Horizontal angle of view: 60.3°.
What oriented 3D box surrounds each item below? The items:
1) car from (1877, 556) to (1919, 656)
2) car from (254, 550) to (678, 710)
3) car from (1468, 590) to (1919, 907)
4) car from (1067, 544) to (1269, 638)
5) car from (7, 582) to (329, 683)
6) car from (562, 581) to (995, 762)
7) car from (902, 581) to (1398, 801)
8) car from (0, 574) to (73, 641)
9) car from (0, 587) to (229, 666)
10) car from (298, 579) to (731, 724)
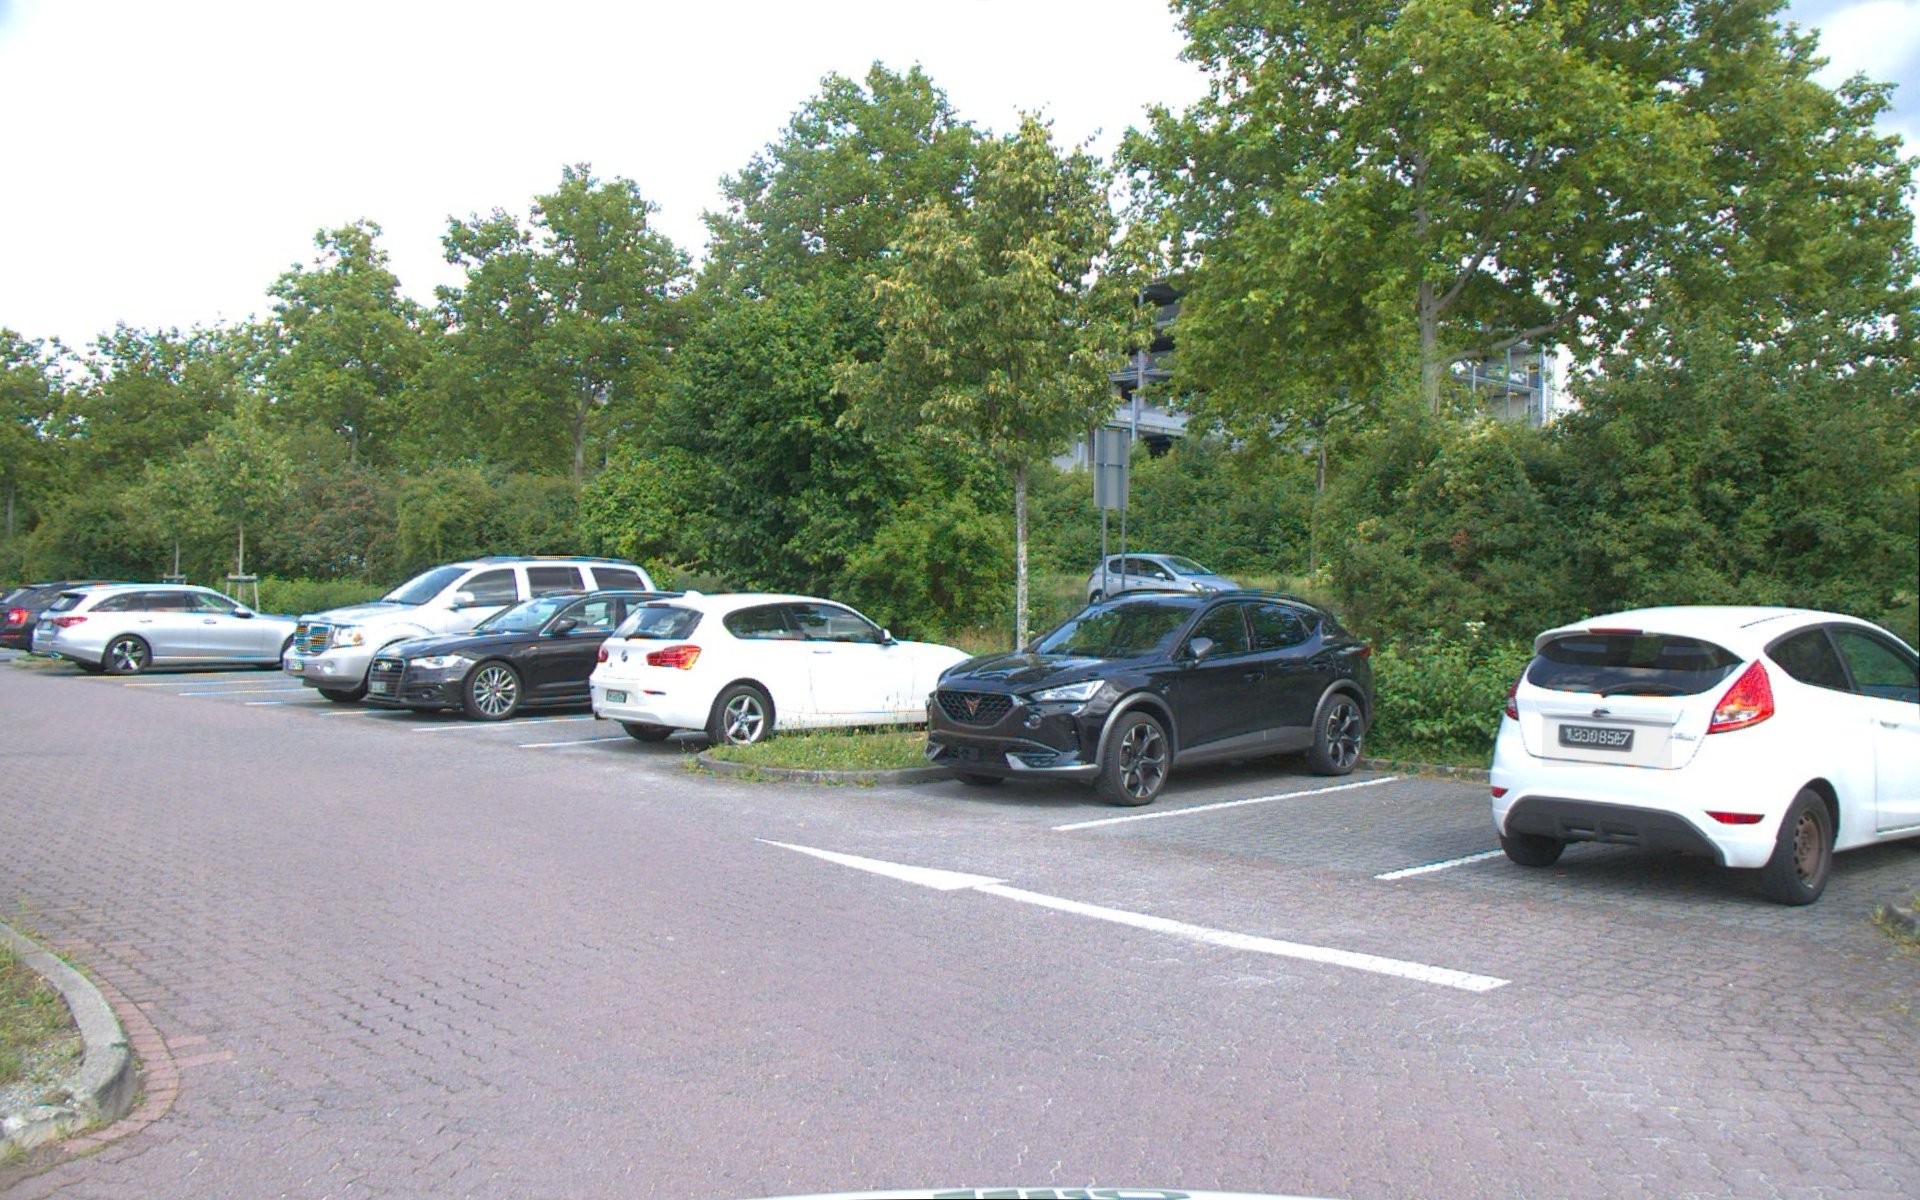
[{"bbox_3d":[17.331,0.109,26.183,4.660,1.617,1.737,1,1,43],"label":"car"},{"bbox_3d":[-6.393,0.297,21.906,1.957,1.874,5.112,1,2,44],"label":"car"},{"bbox_3d":[4.644,0.687,9.552,3.524,1.436,1.646,-1,1,-40],"label":"car"},{"bbox_3d":[4.788,-0.167,38.504,4.418,2.049,1.905,0,-2,44],"label":"car"},{"bbox_3d":[-13.309,0.478,28.012,1.755,1.530,4.621,1,2,45],"label":"car"},{"bbox_3d":[-1.700,0.609,16.342,4.046,1.536,1.665,-1,0,-42],"label":"car"},{"bbox_3d":[1.650,0.591,13.247,4.211,1.435,1.705,-1,2,-44],"label":"car"},{"bbox_3d":[-24.305,0.179,40.411,1.966,1.624,4.291,1,1,44],"label":"car"},{"bbox_3d":[-16.355,0.518,31.734,1.670,1.405,3.972,-2,-2,44],"label":"car"},{"bbox_3d":[-5.156,0.508,19.607,4.687,1.476,1.811,-1,2,-43],"label":"car"}]
